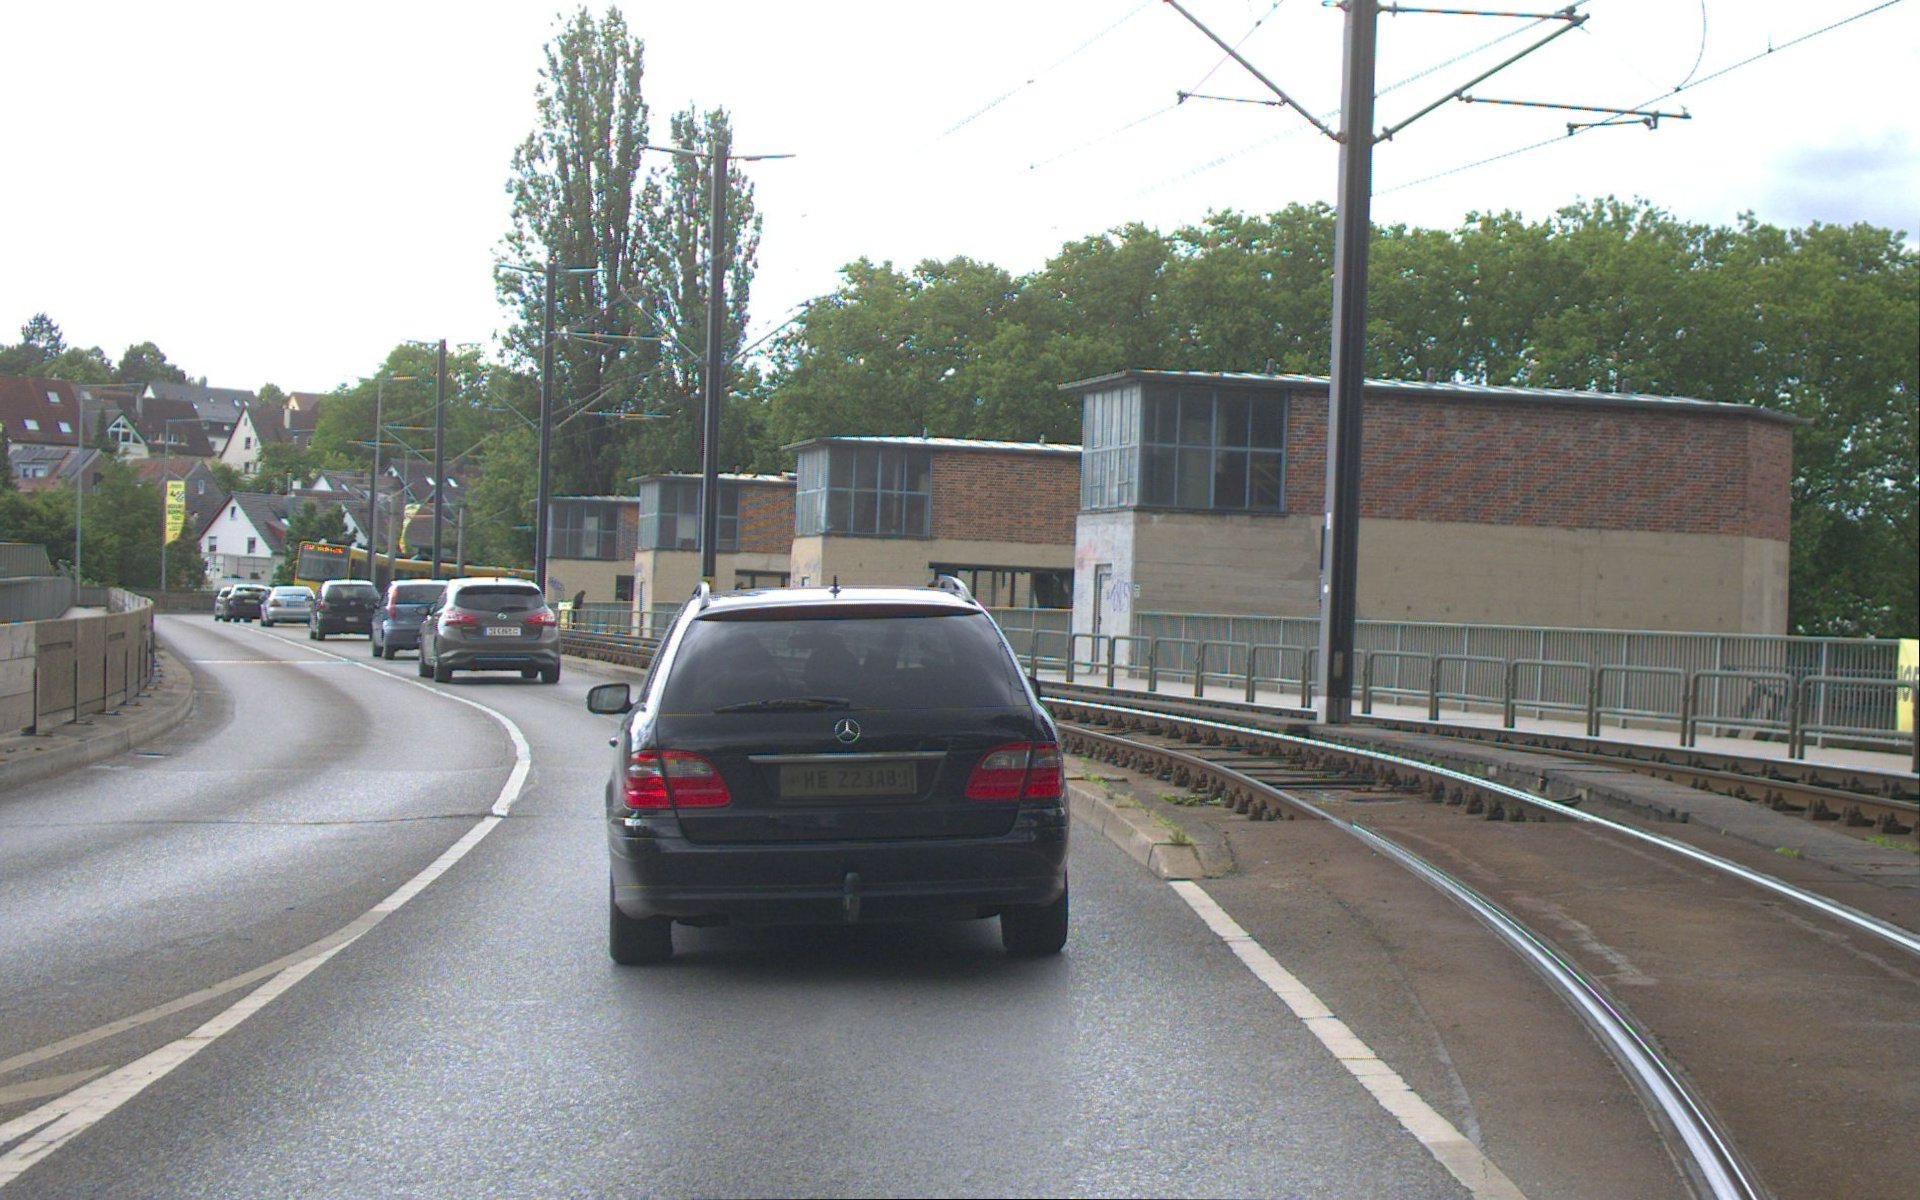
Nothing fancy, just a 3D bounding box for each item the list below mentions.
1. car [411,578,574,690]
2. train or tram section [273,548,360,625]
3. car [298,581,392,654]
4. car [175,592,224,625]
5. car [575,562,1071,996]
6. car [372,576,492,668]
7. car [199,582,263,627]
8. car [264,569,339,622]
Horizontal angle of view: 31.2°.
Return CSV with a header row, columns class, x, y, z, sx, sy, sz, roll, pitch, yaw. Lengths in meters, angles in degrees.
class,x,y,z,sx,sy,sz,roll,pitch,yaw
car,-6.934,0.467,50.680,1.770,1.550,4.242,1,0,-16
train or tram section,-31.073,-0.618,165.320,2.881,3.497,18.672,0,0,-14
car,-14.956,0.392,83.442,1.993,1.667,4.542,0,1,-13
car,-33.549,0.356,151.568,1.516,1.326,4.159,2,0,-20
car,-0.488,0.621,14.596,1.759,1.510,4.442,-1,1,0
car,-10.043,0.378,65.185,1.993,1.559,4.999,-1,2,-11
car,-28.100,0.157,132.489,1.993,1.565,4.907,2,0,-16
car,-20.925,-0.153,109.171,1.993,1.565,4.907,2,0,-14
